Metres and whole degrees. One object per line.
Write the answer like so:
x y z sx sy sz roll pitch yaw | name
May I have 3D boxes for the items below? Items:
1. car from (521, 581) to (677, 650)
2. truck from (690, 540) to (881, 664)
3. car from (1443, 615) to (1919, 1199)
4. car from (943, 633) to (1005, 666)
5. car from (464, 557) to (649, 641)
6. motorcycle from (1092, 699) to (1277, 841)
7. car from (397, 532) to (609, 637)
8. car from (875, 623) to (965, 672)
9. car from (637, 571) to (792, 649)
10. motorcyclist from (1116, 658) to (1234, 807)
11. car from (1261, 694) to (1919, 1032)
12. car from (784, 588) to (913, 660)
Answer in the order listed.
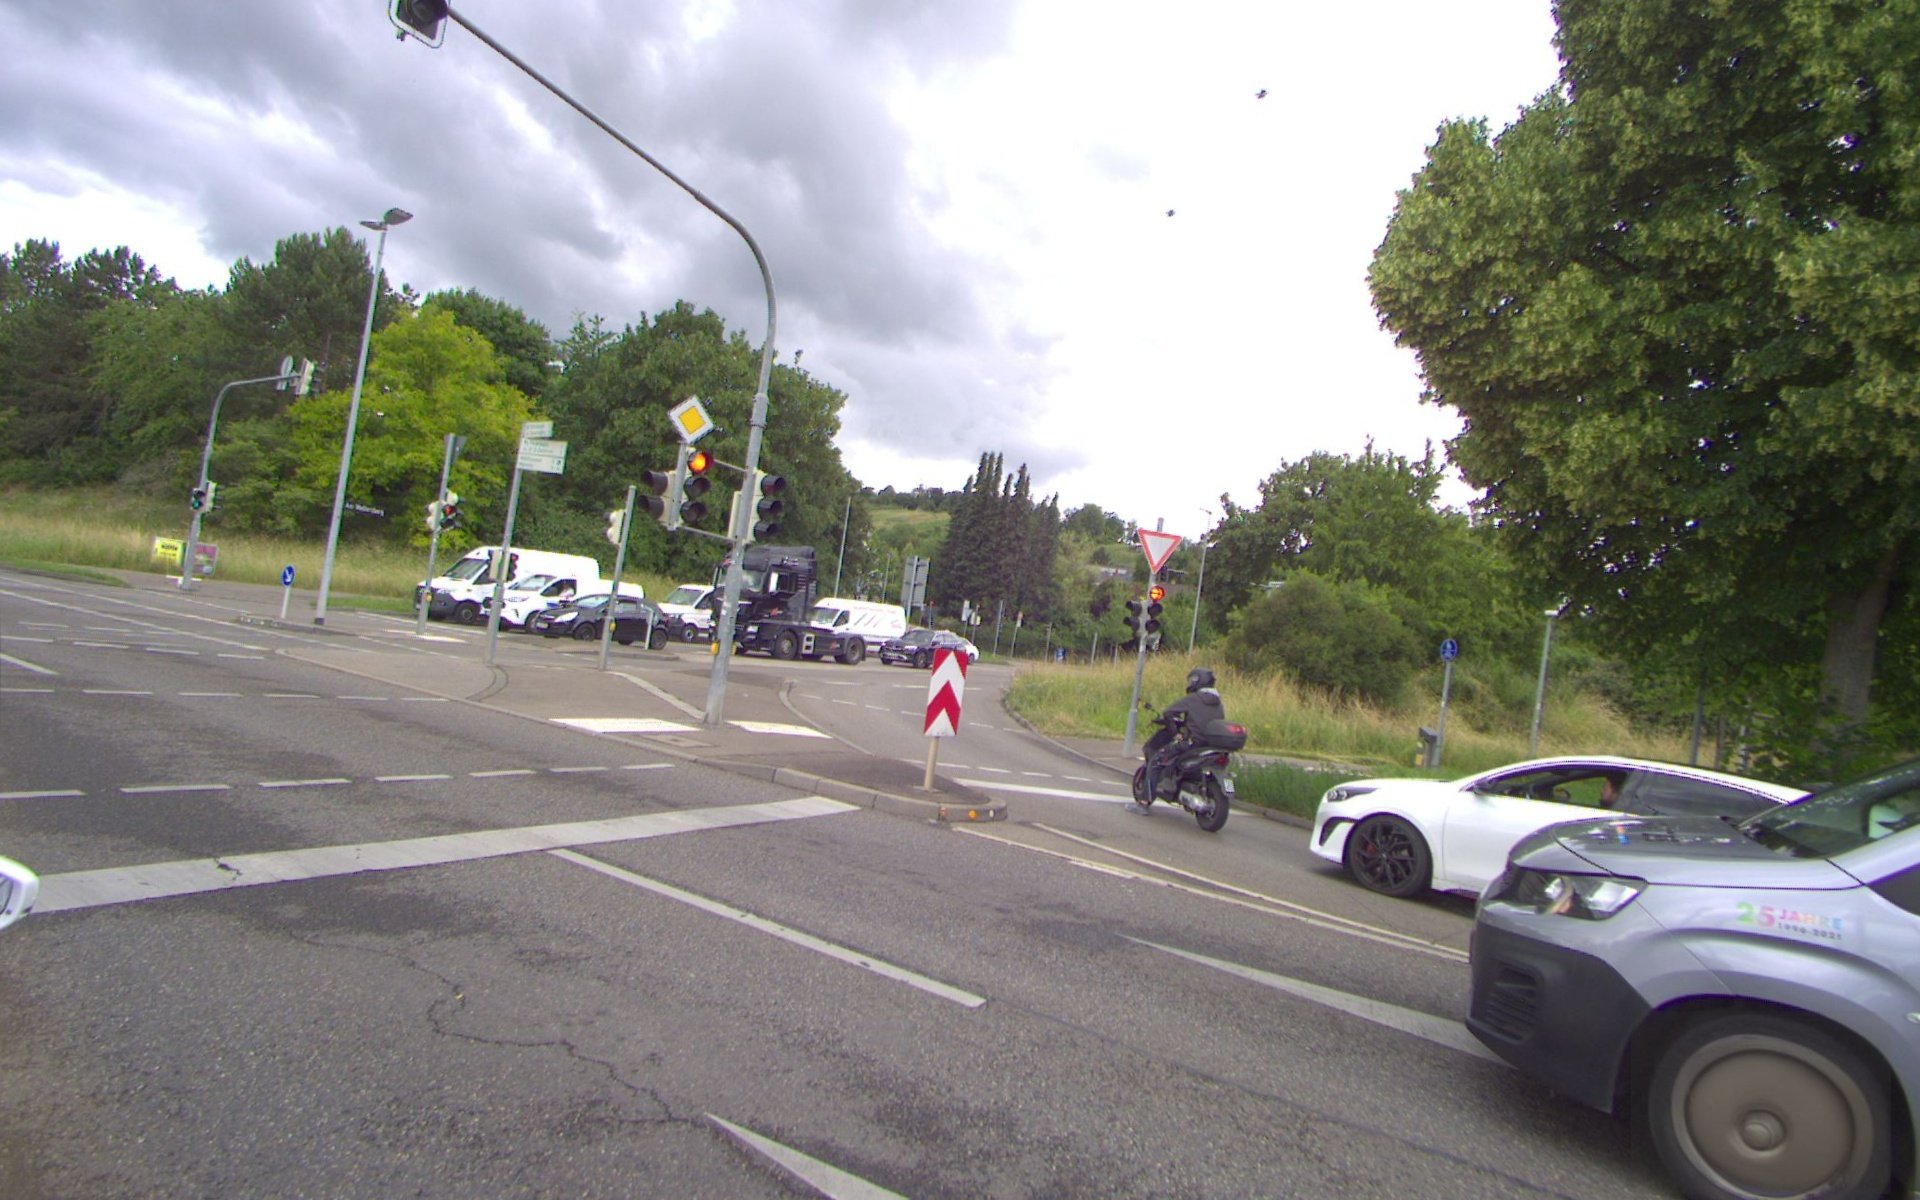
-10.167 0.493 28.599 1.610 1.458 3.858 7 -2 34 | car
-5.964 0.170 35.248 3.025 3.558 5.950 6 -2 33 | truck
4.032 1.236 3.220 4.153 1.801 1.812 7 -1 33 | car
0.823 2.823 57.062 1.625 1.473 3.861 7 -2 32 | car
-12.520 0.042 31.594 2.086 2.013 4.981 5 -3 32 | car
2.342 1.778 10.835 0.750 1.102 2.059 9 -2 -23 | motorcycle
-14.996 -0.428 33.437 2.192 2.689 5.950 6 -2 33 | car
-1.602 1.992 41.778 1.722 1.594 3.861 7 -2 32 | car
-9.816 0.476 40.821 2.193 2.413 5.948 6 -3 35 | car
2.336 1.432 10.977 0.750 1.437 0.813 9 -1 -23 | motorcyclist
4.926 1.815 7.906 4.457 1.435 1.828 5 -5 45 | car
-5.250 1.233 48.517 2.192 2.751 6.674 6 -2 33 | car
